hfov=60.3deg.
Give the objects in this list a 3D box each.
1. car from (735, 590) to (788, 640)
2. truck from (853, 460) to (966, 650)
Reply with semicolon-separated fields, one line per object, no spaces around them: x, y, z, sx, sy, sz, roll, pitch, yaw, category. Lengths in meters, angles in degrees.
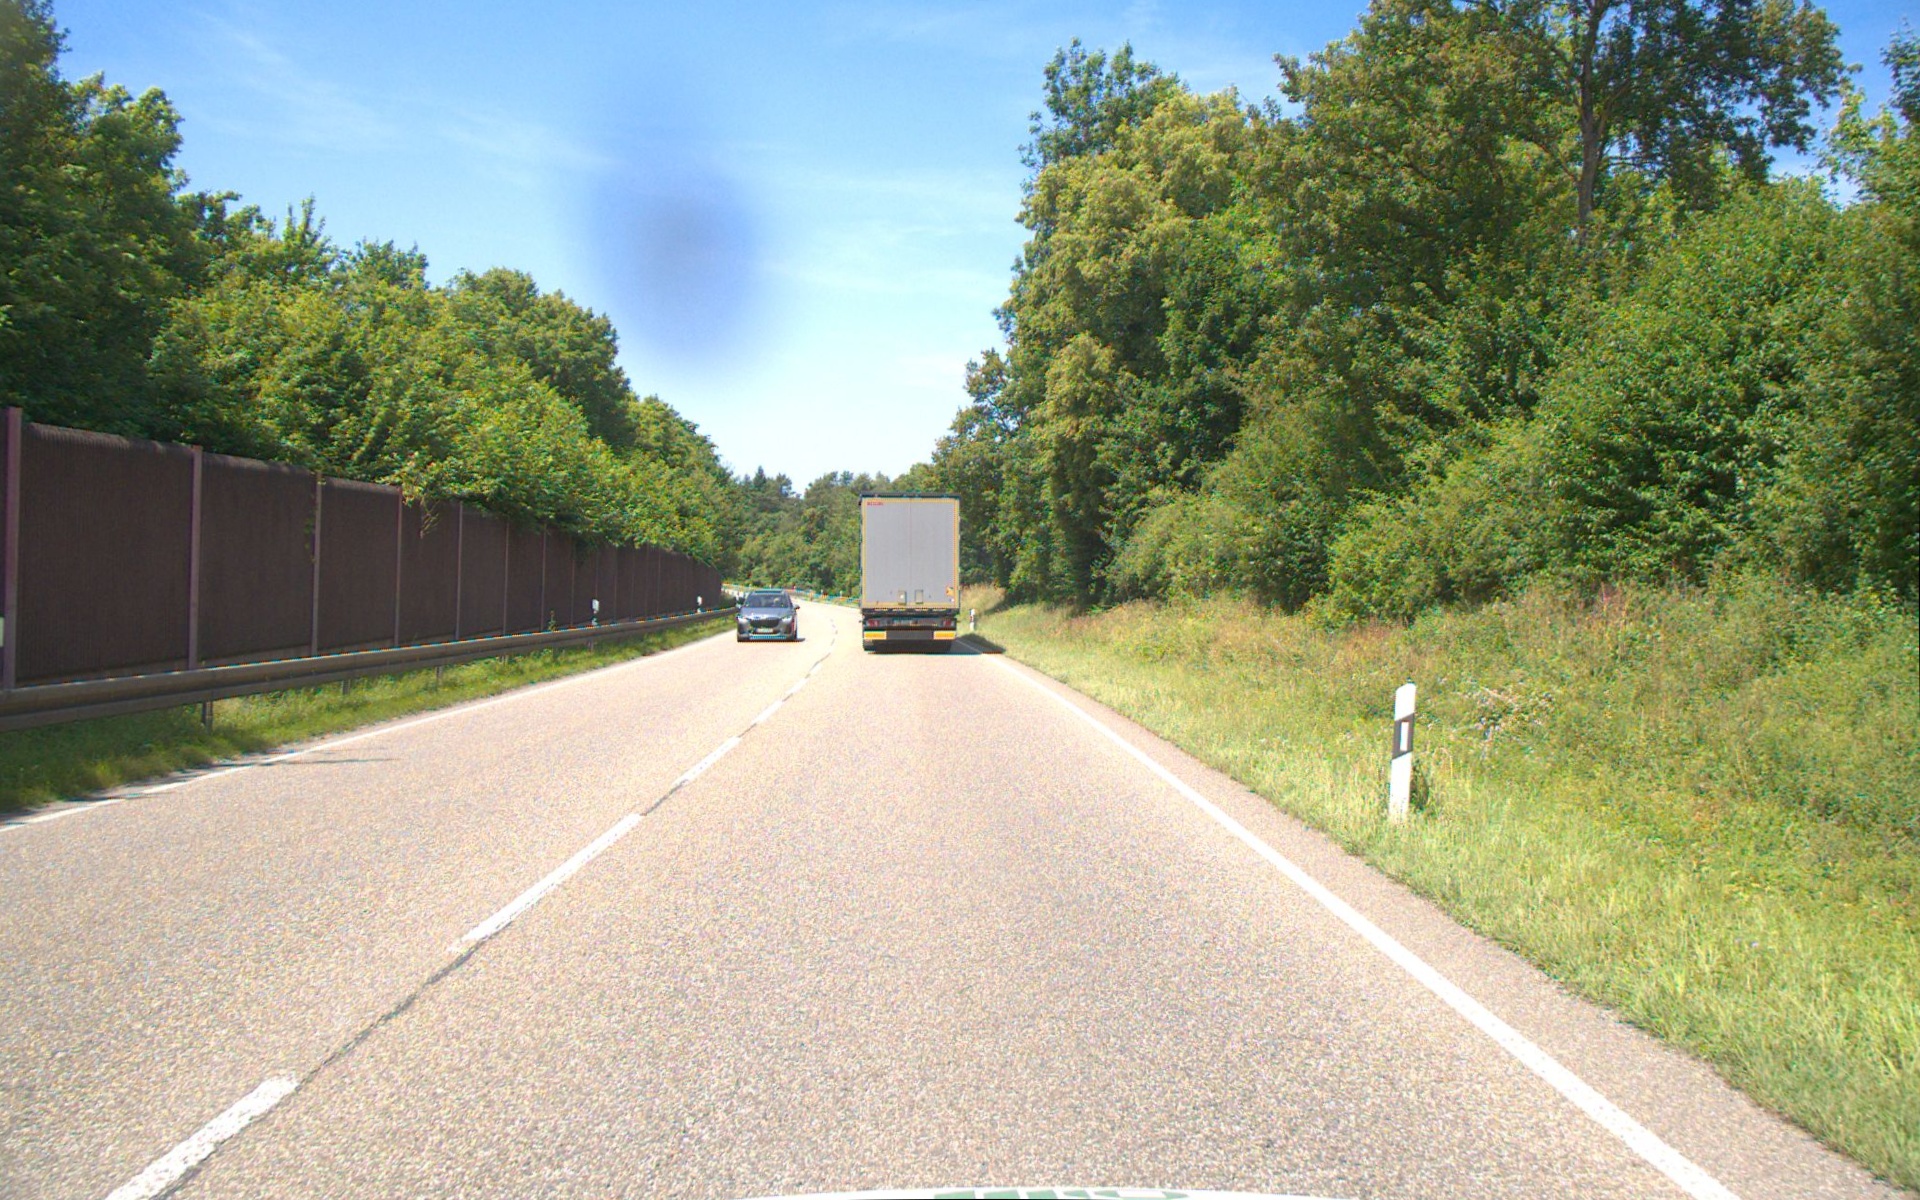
-6.325;0.462;52.561;1.586;1.517;3.610;0;0;-8;car
-1.419;-1.079;44.566;2.766;4.684;6.661;1;-1;-3;truck
